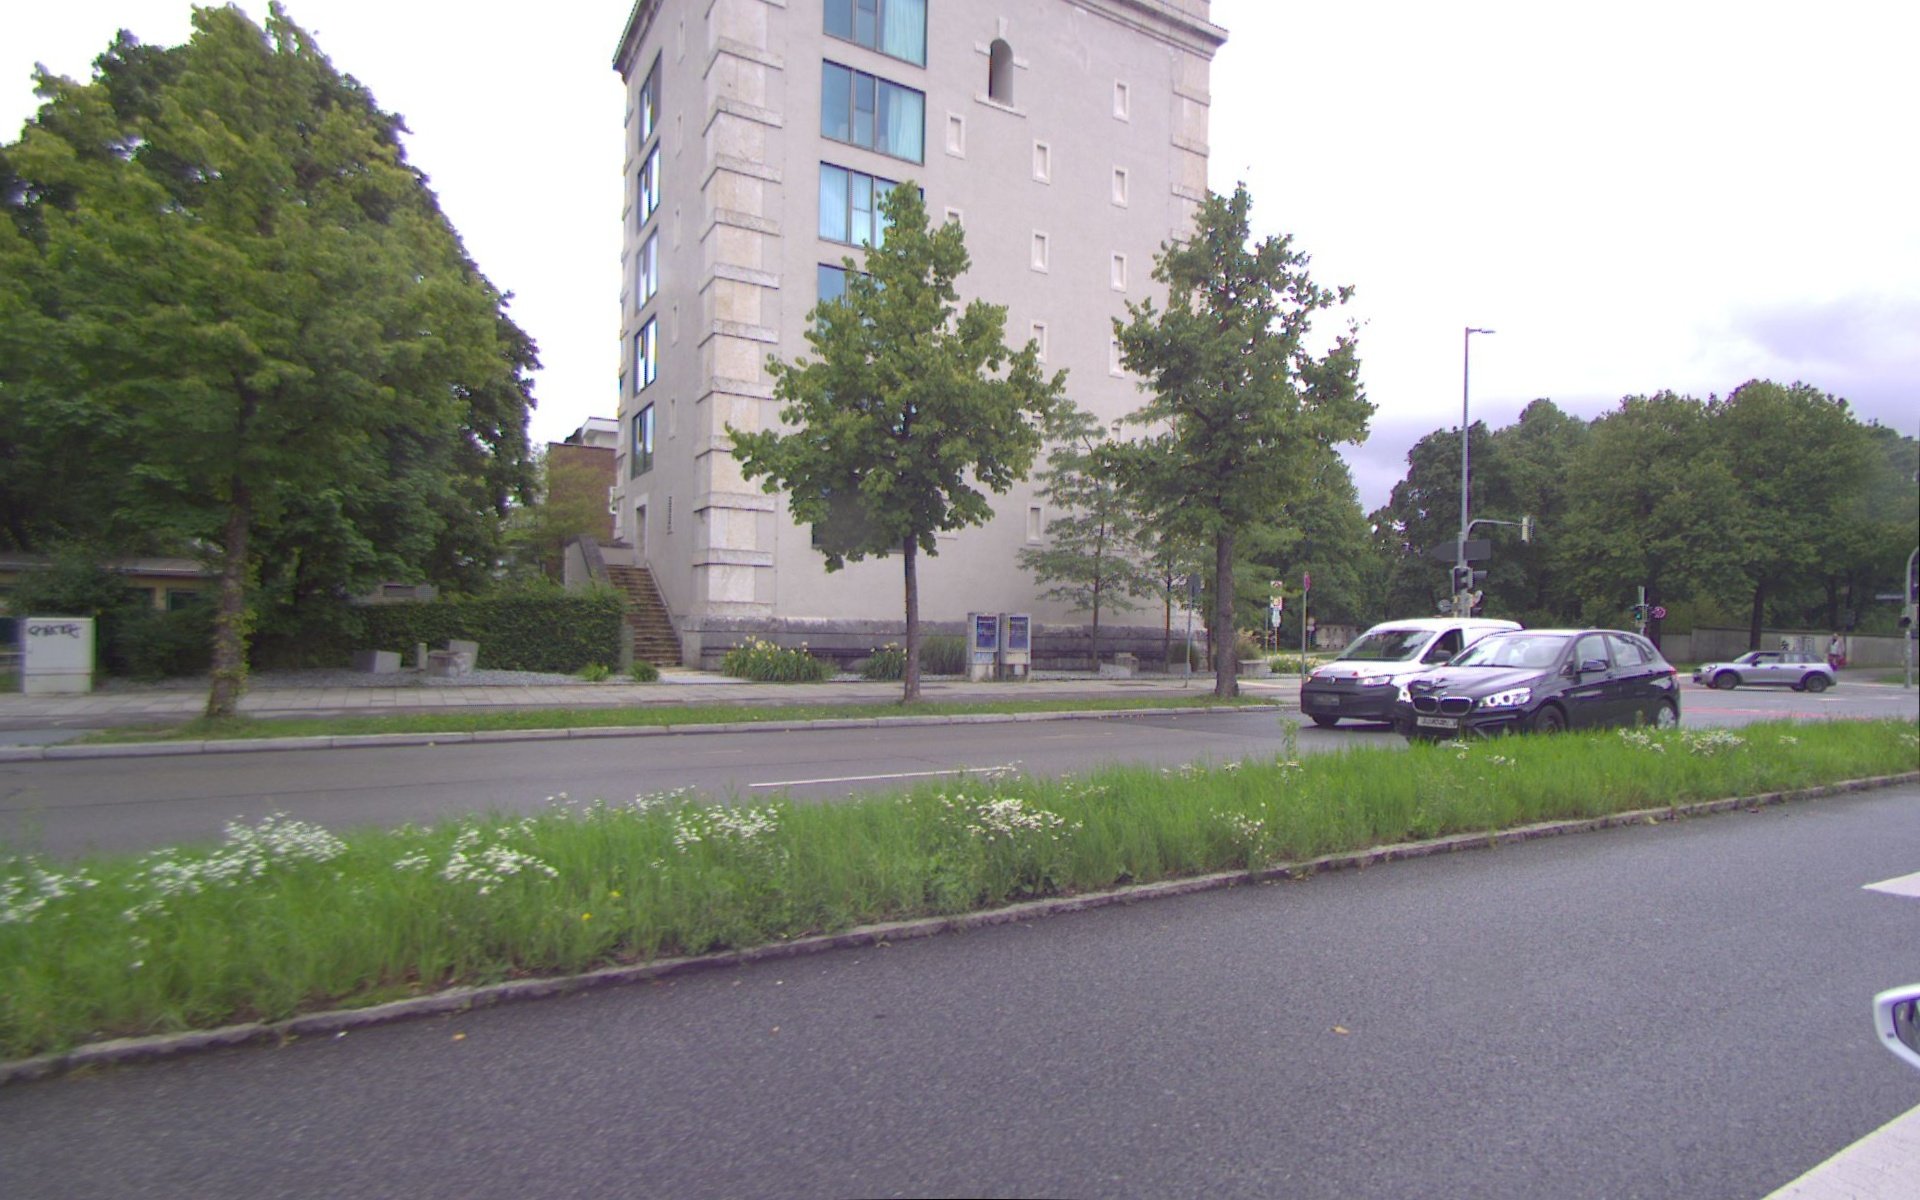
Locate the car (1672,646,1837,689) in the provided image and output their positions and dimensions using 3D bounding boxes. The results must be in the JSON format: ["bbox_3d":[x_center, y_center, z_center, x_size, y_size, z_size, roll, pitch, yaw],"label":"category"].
[{"bbox_3d":[28.577,2.419,36.317,4.281,1.481,1.932,-1,-3,23],"label":"car"}]

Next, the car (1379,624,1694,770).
[{"bbox_3d":[7.466,1.145,12.898,4.242,1.590,1.689,2,-1,-31],"label":"car"}]

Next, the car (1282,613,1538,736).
[{"bbox_3d":[7.641,1.187,16.939,4.380,1.836,1.770,2,-1,-31],"label":"car"}]

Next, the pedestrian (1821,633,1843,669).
[{"bbox_3d":[42.552,2.479,49.021,0.512,1.763,0.703,2,-1,-33],"label":"pedestrian"}]
